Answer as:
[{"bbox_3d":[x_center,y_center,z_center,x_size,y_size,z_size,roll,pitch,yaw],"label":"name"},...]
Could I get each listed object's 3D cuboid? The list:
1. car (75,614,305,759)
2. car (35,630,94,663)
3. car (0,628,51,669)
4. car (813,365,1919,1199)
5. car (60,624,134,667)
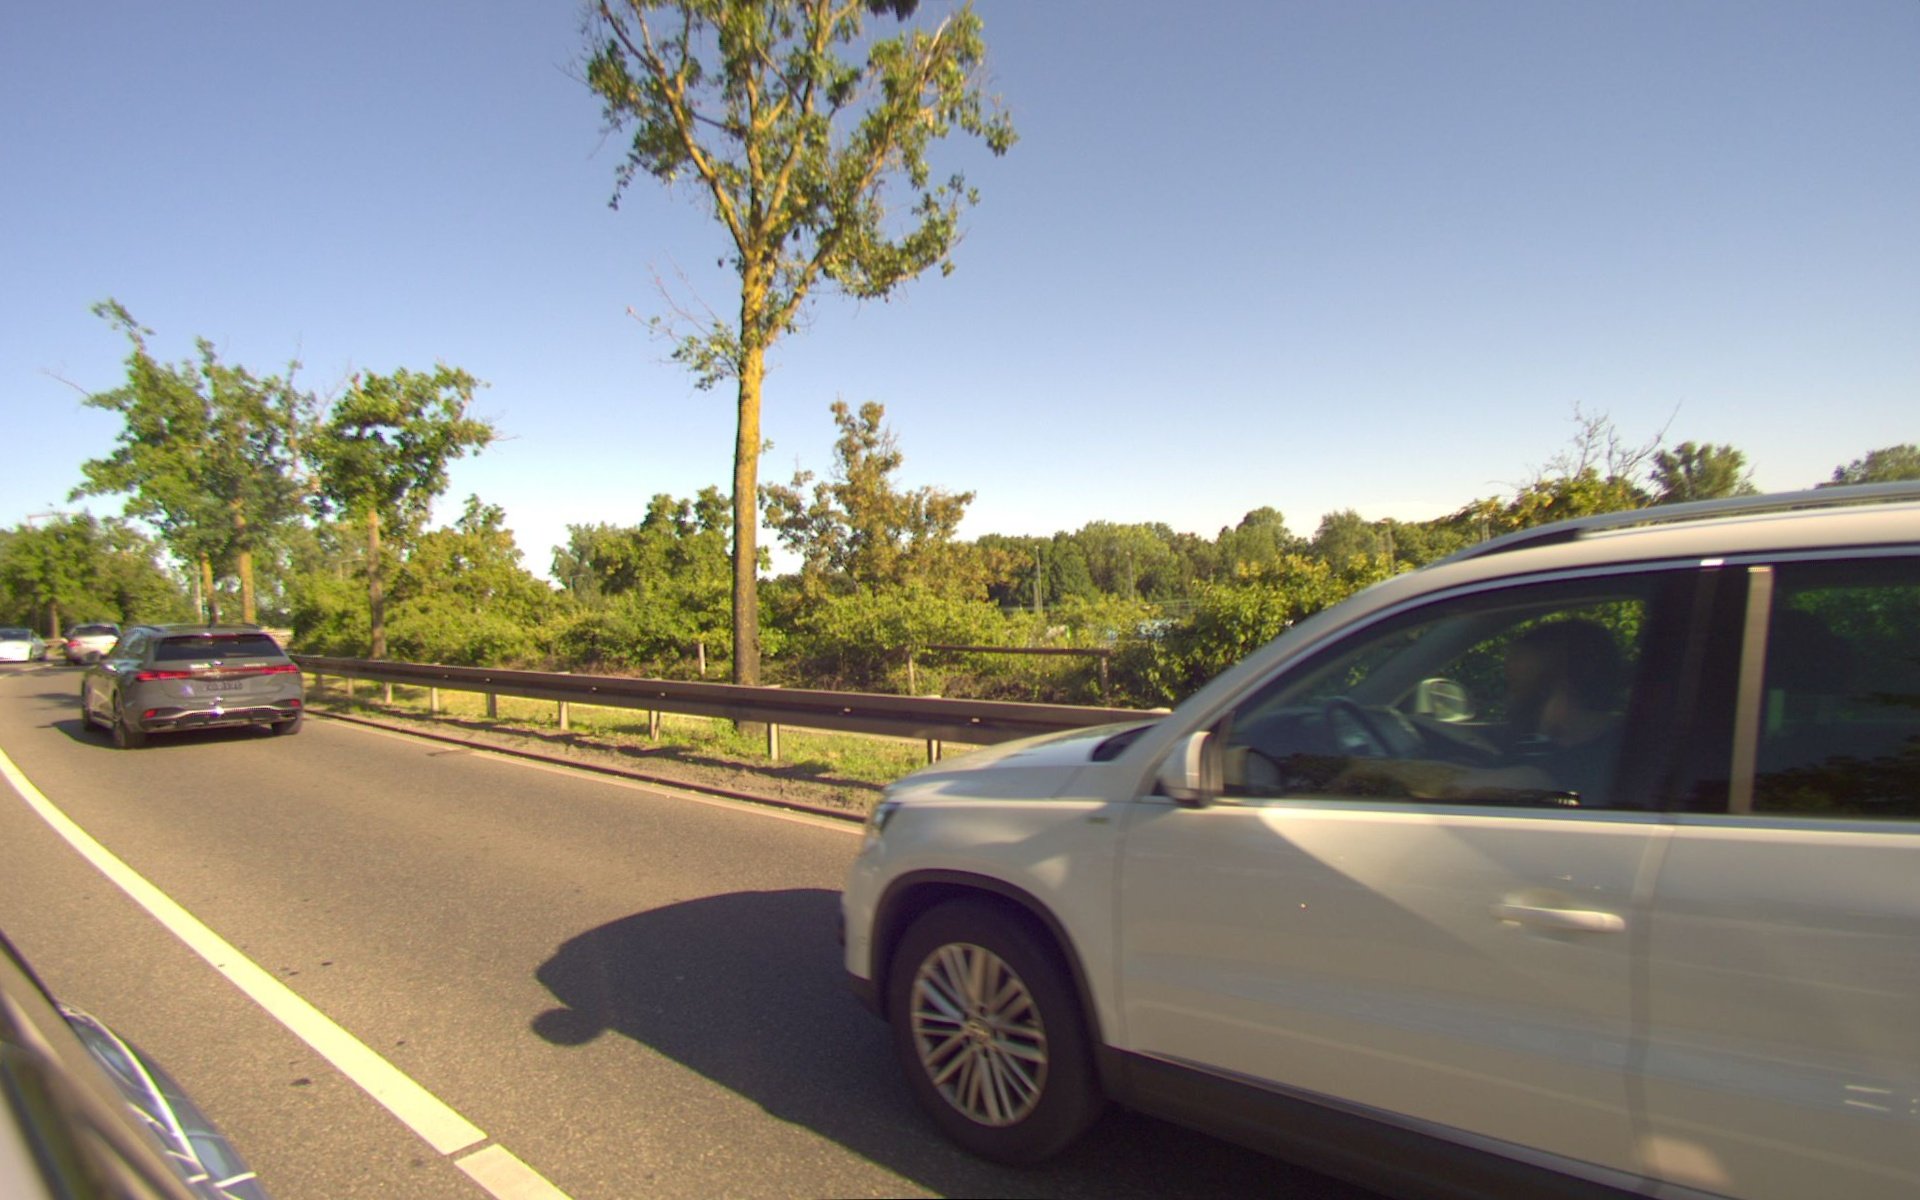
[{"bbox_3d":[-10.133,0.980,13.160,1.828,1.503,4.720,-1,0,-44],"label":"car"},{"bbox_3d":[-50.120,2.578,56.702,1.655,1.717,3.617,-1,0,-27],"label":"car"},{"bbox_3d":[-39.397,1.980,41.605,2.114,1.579,4.211,0,-1,-29],"label":"car"},{"bbox_3d":[1.649,0.503,2.293,3.979,1.670,1.711,-2,0,41],"label":"car"},{"bbox_3d":[-33.301,1.712,39.127,1.785,1.566,4.150,1,-2,-35],"label":"car"}]
